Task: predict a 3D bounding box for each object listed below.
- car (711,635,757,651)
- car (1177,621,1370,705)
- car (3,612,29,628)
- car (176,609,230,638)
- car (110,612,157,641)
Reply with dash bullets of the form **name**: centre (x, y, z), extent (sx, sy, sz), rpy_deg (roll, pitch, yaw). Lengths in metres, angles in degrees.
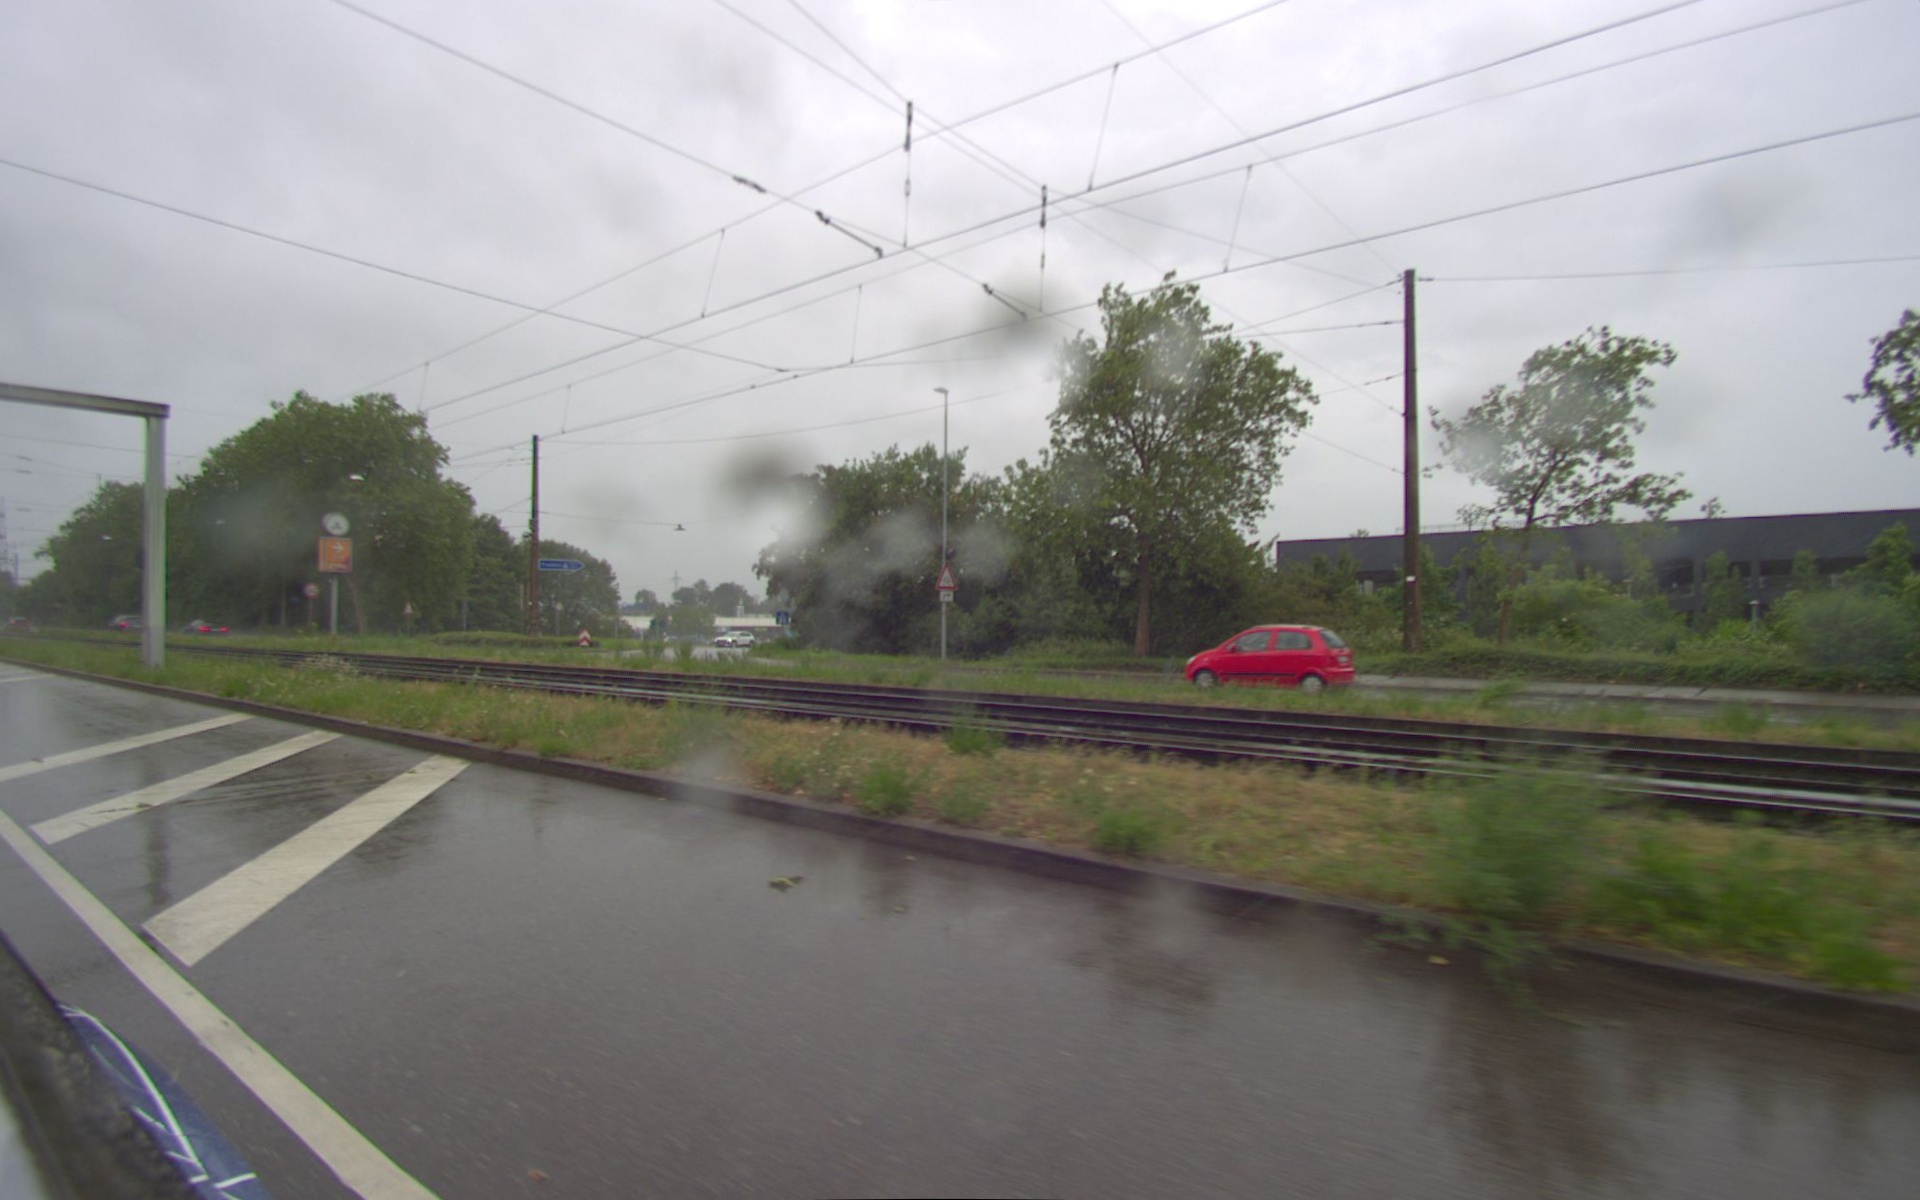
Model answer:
- **car**: centre (-20.507, 3.900, 91.994), extent (1.600, 1.366, 4.446), rpy_deg (0, -1, 30)
- **car**: centre (6.601, 1.258, 21.493), extent (3.617, 1.602, 1.585), rpy_deg (-1, -1, 41)
- **car**: centre (-120.807, 2.555, 129.527), extent (3.998, 2.029, 1.973), rpy_deg (-1, -2, 41)
- **car**: centre (-54.527, 1.708, 72.887), extent (4.513, 2.029, 1.951), rpy_deg (-1, -1, 38)
- **car**: centre (-60.099, 1.911, 73.556), extent (3.998, 2.029, 1.973), rpy_deg (-1, -2, 41)
